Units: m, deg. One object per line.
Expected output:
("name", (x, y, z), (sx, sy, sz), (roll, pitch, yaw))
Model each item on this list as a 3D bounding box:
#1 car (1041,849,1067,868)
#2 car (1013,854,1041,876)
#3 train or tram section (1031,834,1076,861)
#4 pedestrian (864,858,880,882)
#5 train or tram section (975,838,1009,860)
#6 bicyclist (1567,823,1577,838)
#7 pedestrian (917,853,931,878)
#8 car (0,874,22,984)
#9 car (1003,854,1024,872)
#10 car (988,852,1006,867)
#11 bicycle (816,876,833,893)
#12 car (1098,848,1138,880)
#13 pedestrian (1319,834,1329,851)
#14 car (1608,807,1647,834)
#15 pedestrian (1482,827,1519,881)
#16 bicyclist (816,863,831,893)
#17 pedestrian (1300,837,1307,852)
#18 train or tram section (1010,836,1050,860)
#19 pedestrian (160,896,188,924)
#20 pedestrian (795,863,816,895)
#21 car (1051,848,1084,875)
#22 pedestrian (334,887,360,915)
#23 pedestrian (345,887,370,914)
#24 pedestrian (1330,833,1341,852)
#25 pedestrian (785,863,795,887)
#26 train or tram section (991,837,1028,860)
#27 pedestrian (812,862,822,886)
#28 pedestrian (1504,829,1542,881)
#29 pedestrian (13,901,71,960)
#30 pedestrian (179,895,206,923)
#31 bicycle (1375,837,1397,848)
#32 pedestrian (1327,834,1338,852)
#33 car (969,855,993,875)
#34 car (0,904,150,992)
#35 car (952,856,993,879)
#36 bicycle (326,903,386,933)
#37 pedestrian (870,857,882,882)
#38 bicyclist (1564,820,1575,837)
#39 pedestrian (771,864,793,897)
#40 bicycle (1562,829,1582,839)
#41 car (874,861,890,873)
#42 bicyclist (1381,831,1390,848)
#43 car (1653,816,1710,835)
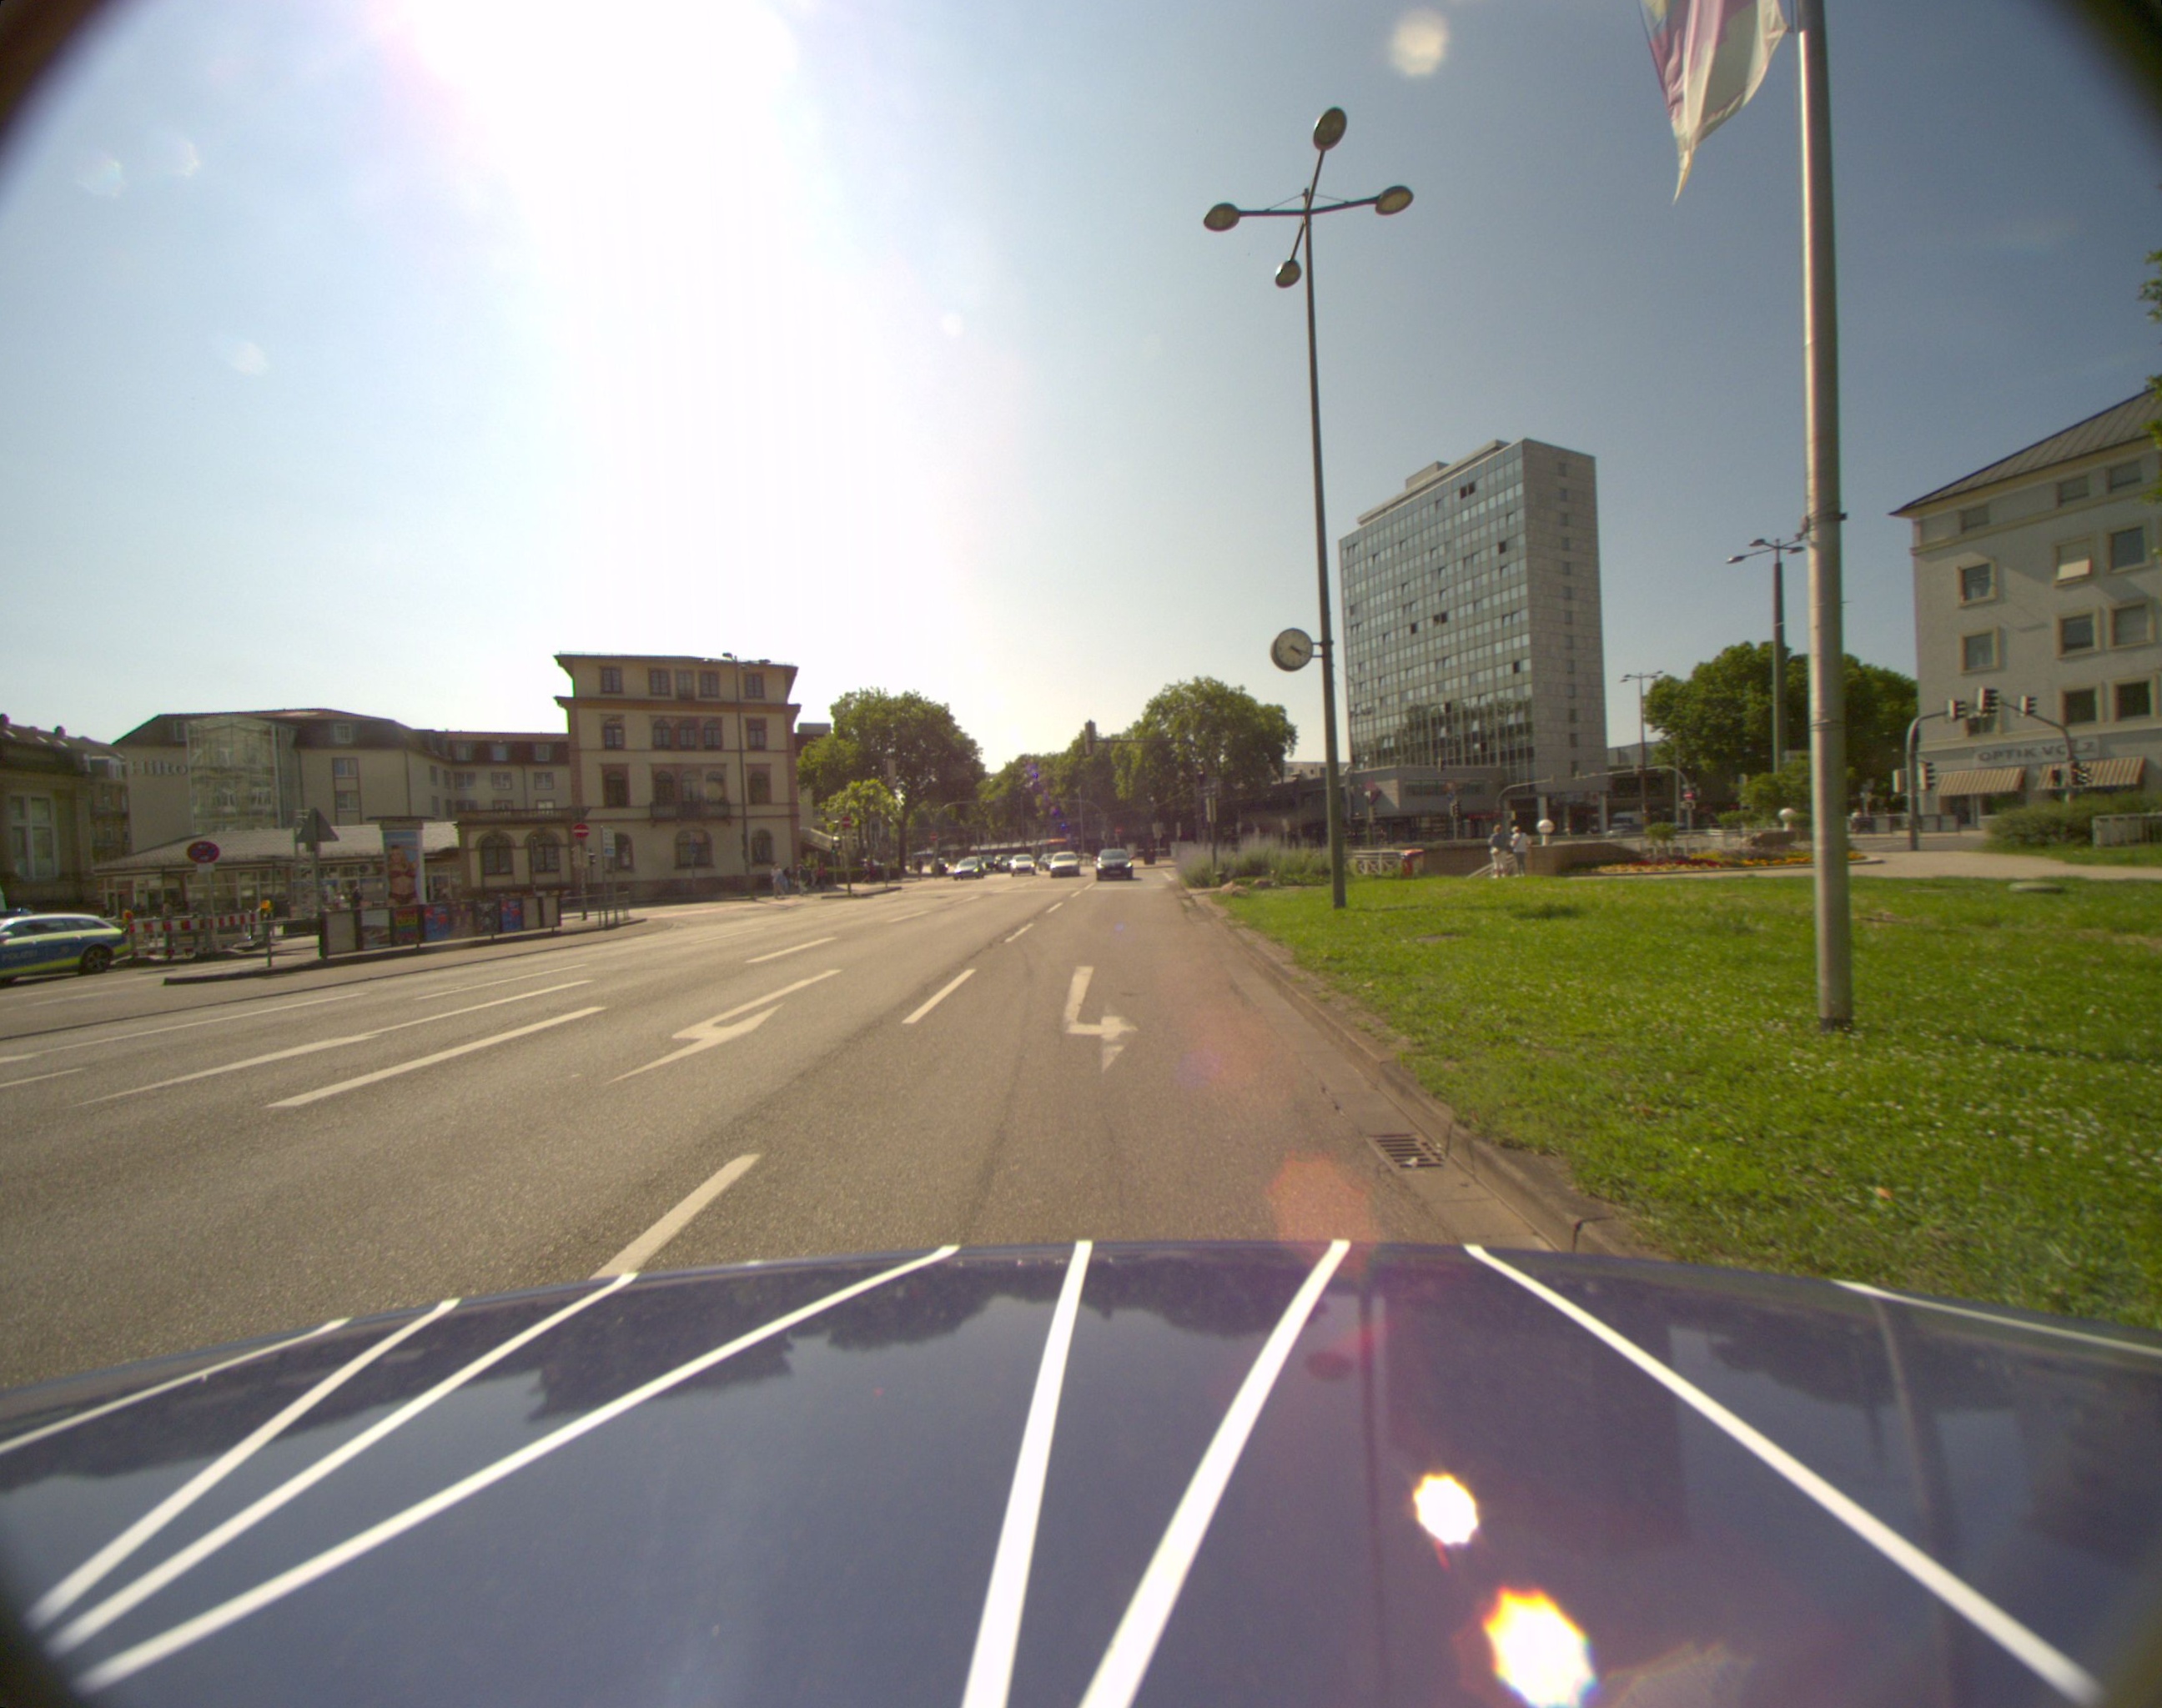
("car", (-2.291, 0.329, 64.069), (1.792, 1.514, 3.971), (-2, 0, -8))
("car", (-3.758, 0.729, 53.566), (1.791, 1.443, 3.973), (-2, 0, -1))
("train or tram section", (-3.907, -0.831, 103.891), (2.738, 3.249, 8.720), (-4, 1, -25))
("pedestrian", (-14.933, 1.150, 54.295), (0.845, 1.685, 0.743), (-4, 1, -26))
("train or tram section", (-15.006, -0.811, 127.559), (2.738, 3.249, 8.720), (-4, 1, -25))
("bicyclist", (50.997, -2.411, 78.935), (0.684, 1.518, 0.582), (-3, 3, -14))
("pedestrian", (-12.307, 0.897, 59.456), (0.590, 1.835, 0.730), (-2, 1, 43))
("car", (-26.009, 1.814, 15.536), (2.001, 2.588, 5.311), (-4, 1, -14))
("car", (-6.031, 0.781, 67.500), (1.792, 1.521, 3.971), (-2, 0, -6))
("car", (-8.615, 0.588, 78.021), (1.792, 1.443, 3.971), (-2, 0, -6))
("bicycle", (-14.155, 1.665, 41.919), (0.593, 0.850, 1.743), (-3, 1, -10))
("car", (1.774, 0.436, 36.995), (1.790, 1.443, 4.281), (-2, 0, 2))
("pedestrian", (25.947, -1.232, 81.161), (0.822, 1.796, 0.671), (-2, 2, 9))
("car", (63.533, -3.848, 88.322), (4.641, 2.899, 1.744), (-3, 1, -27))
("pedestrian", (12.557, -0.001, 22.760), (0.692, 1.584, 0.599), (-3, 1, -12))
("bicyclist", (-14.165, 1.300, 41.867), (0.593, 1.597, 0.683), (-3, 1, -10))
("pedestrian", (23.713, -1.042, 81.096), (0.565, 1.629, 0.600), (-2, 2, 3))
("train or tram section", (-7.610, -0.824, 111.750), (2.738, 3.249, 8.720), (-4, 1, -25))
("pedestrian", (-53.822, 3.309, 45.091), (0.723, 1.594, 0.719), (-3, 1, 8))
("pedestrian", (-14.232, 1.273, 39.276), (0.773, 1.563, 0.829), (-3, 1, -4))
("car", (-0.757, 0.459, 45.379), (1.719, 1.491, 4.491), (-2, 0, 2))
("pedestrian", (-44.149, 2.833, 45.703), (0.724, 1.594, 0.719), (-3, 1, 0))
("pedestrian", (-44.156, 2.843, 46.375), (0.724, 1.594, 0.719), (-3, 1, -1))
("pedestrian", (25.933, -1.162, 77.412), (0.824, 1.825, 0.670), (-3, 2, -25))
("pedestrian", (-20.337, 1.461, 53.040), (0.536, 1.639, 0.673), (-3, 1, -21))
("train or tram section", (-11.320, -0.817, 119.649), (2.738, 3.249, 8.720), (-4, 1, -25))
("pedestrian", (-18.254, 1.361, 52.451), (0.536, 1.639, 0.579), (-3, 1, -21))
("pedestrian", (13.263, 0.014, 22.800), (0.851, 1.501, 0.474), (-3, 1, -12))
("pedestrian", (-32.934, 2.409, 24.104), (0.702, 1.742, 0.721), (-3, 1, -12))
("pedestrian", (-54.235, 3.347, 46.398), (0.723, 1.594, 0.719), (-3, 1, 7))
("bicycle", (31.637, -1.194, 78.875), (1.967, 1.096, 0.577), (-3, 1, 6))
("pedestrian", (25.325, -1.110, 76.549), (0.824, 1.825, 0.670), (-3, 2, -26))
("car", (-8.302, 0.876, 63.369), (1.792, 1.521, 3.971), (-2, 0, -6))
("car", (-23.477, 2.099, 16.318), (1.823, 1.617, 4.873), (-4, 1, -15))
("car", (-7.643, 0.947, 54.074), (1.790, 1.443, 3.976), (-1, 0, 8))
("bicycle", (-30.378, 2.675, 31.852), (1.820, 1.093, 0.504), (-2, 1, -7))
("pedestrian", (-15.027, 1.141, 55.626), (0.727, 1.795, 0.651), (-3, 1, -18))
("bicyclist", (52.002, -2.719, 80.862), (0.684, 1.759, 0.696), (-3, 3, -7))
("pedestrian", (-15.186, 1.334, 38.552), (0.754, 1.650, 0.829), (-3, 1, -6))
("bicycle", (51.029, -2.089, 78.954), (1.811, 0.878, 0.592), (-3, 3, -14))
("car", (-24.349, 1.608, 92.945), (1.592, 1.314, 3.573), (-3, 1, -20))
("bicyclist", (31.616, -1.485, 78.875), (0.683, 1.677, 0.584), (-3, 1, 6))
("car", (54.719, -2.575, 69.262), (4.079, 1.525, 1.881), (-3, 1, -11))
